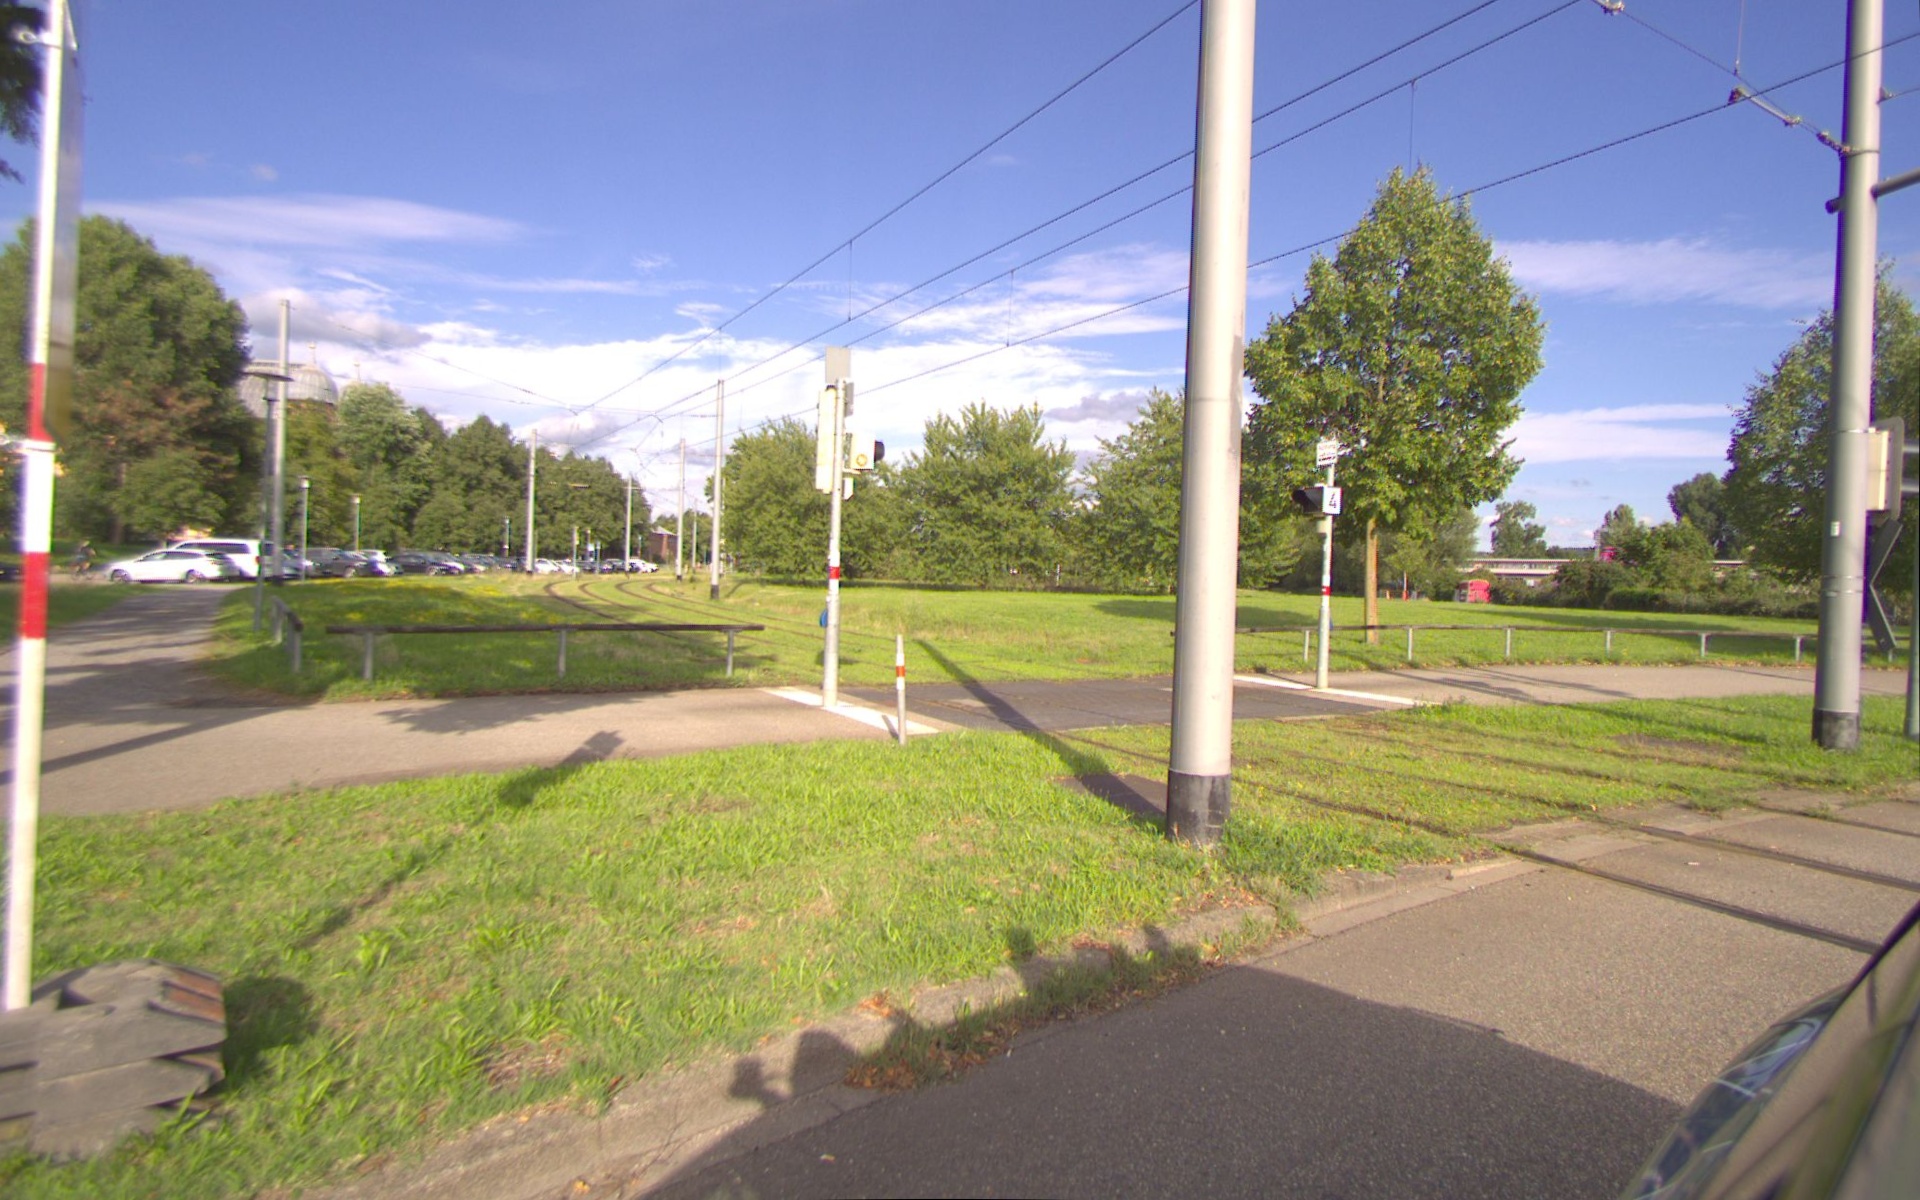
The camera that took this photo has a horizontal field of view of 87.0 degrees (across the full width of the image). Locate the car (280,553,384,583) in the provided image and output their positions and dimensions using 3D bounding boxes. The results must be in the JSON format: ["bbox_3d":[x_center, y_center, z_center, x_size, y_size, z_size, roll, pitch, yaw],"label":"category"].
[{"bbox_3d":[-33.403,-1.707,53.914,4.384,1.416,1.862,2,2,0],"label":"car"}]

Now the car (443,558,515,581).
[{"bbox_3d":[-34.947,-2.226,73.573,4.384,1.560,1.860,2,2,0],"label":"car"}]

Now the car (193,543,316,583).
[{"bbox_3d":[-32.918,-1.721,47.285,4.390,1.695,2.101,2,2,5],"label":"car"}]

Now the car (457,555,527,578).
[{"bbox_3d":[-35.282,-2.532,76.349,4.384,1.560,1.860,2,2,0],"label":"car"}]

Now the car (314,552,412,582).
[{"bbox_3d":[-33.377,-1.828,56.660,4.384,1.523,1.862,2,2,0],"label":"car"}]

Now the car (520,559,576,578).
[{"bbox_3d":[-37.320,-2.848,91.789,4.393,1.560,1.856,2,2,7],"label":"car"}]

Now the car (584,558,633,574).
[{"bbox_3d":[-36.648,-3.505,105.552,4.393,1.560,1.856,2,2,7],"label":"car"}]

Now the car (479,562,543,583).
[{"bbox_3d":[-36.087,-2.219,81.408,4.384,1.560,1.860,2,2,0],"label":"car"}]

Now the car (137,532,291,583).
[{"bbox_3d":[-32.506,-1.855,44.212,5.016,2.032,2.318,1,2,0],"label":"car"}]

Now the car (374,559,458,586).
[{"bbox_3d":[-34.609,-1.761,64.403,4.384,1.534,1.804,2,2,0],"label":"car"}]

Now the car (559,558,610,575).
[{"bbox_3d":[-37.296,-3.287,100.494,4.393,1.560,1.856,2,2,7],"label":"car"}]

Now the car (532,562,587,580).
[{"bbox_3d":[-37.378,-2.733,94.476,4.393,1.560,1.856,2,2,7],"label":"car"}]

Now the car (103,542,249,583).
[{"bbox_3d":[-32.024,-1.524,41.452,4.376,1.534,1.865,1,2,-11],"label":"car"}]

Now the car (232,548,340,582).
[{"bbox_3d":[-32.929,-1.705,49.507,4.039,1.534,2.035,2,2,5],"label":"car"}]

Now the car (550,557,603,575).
[{"bbox_3d":[-36.865,-3.252,97.261,4.393,1.560,1.856,2,2,7],"label":"car"}]

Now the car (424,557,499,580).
[{"bbox_3d":[-34.911,-2.186,70.925,4.384,1.471,1.860,2,2,0],"label":"car"}]

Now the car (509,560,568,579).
[{"bbox_3d":[-36.865,-2.655,88.528,4.381,1.493,1.801,1,2,-3],"label":"car"}]

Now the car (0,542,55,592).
[{"bbox_3d":[-31.628,-1.105,31.922,4.381,1.534,1.863,1,2,-3],"label":"car"}]

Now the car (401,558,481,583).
[{"bbox_3d":[-34.352,-1.959,67.029,4.384,1.560,1.860,2,2,0],"label":"car"}]
